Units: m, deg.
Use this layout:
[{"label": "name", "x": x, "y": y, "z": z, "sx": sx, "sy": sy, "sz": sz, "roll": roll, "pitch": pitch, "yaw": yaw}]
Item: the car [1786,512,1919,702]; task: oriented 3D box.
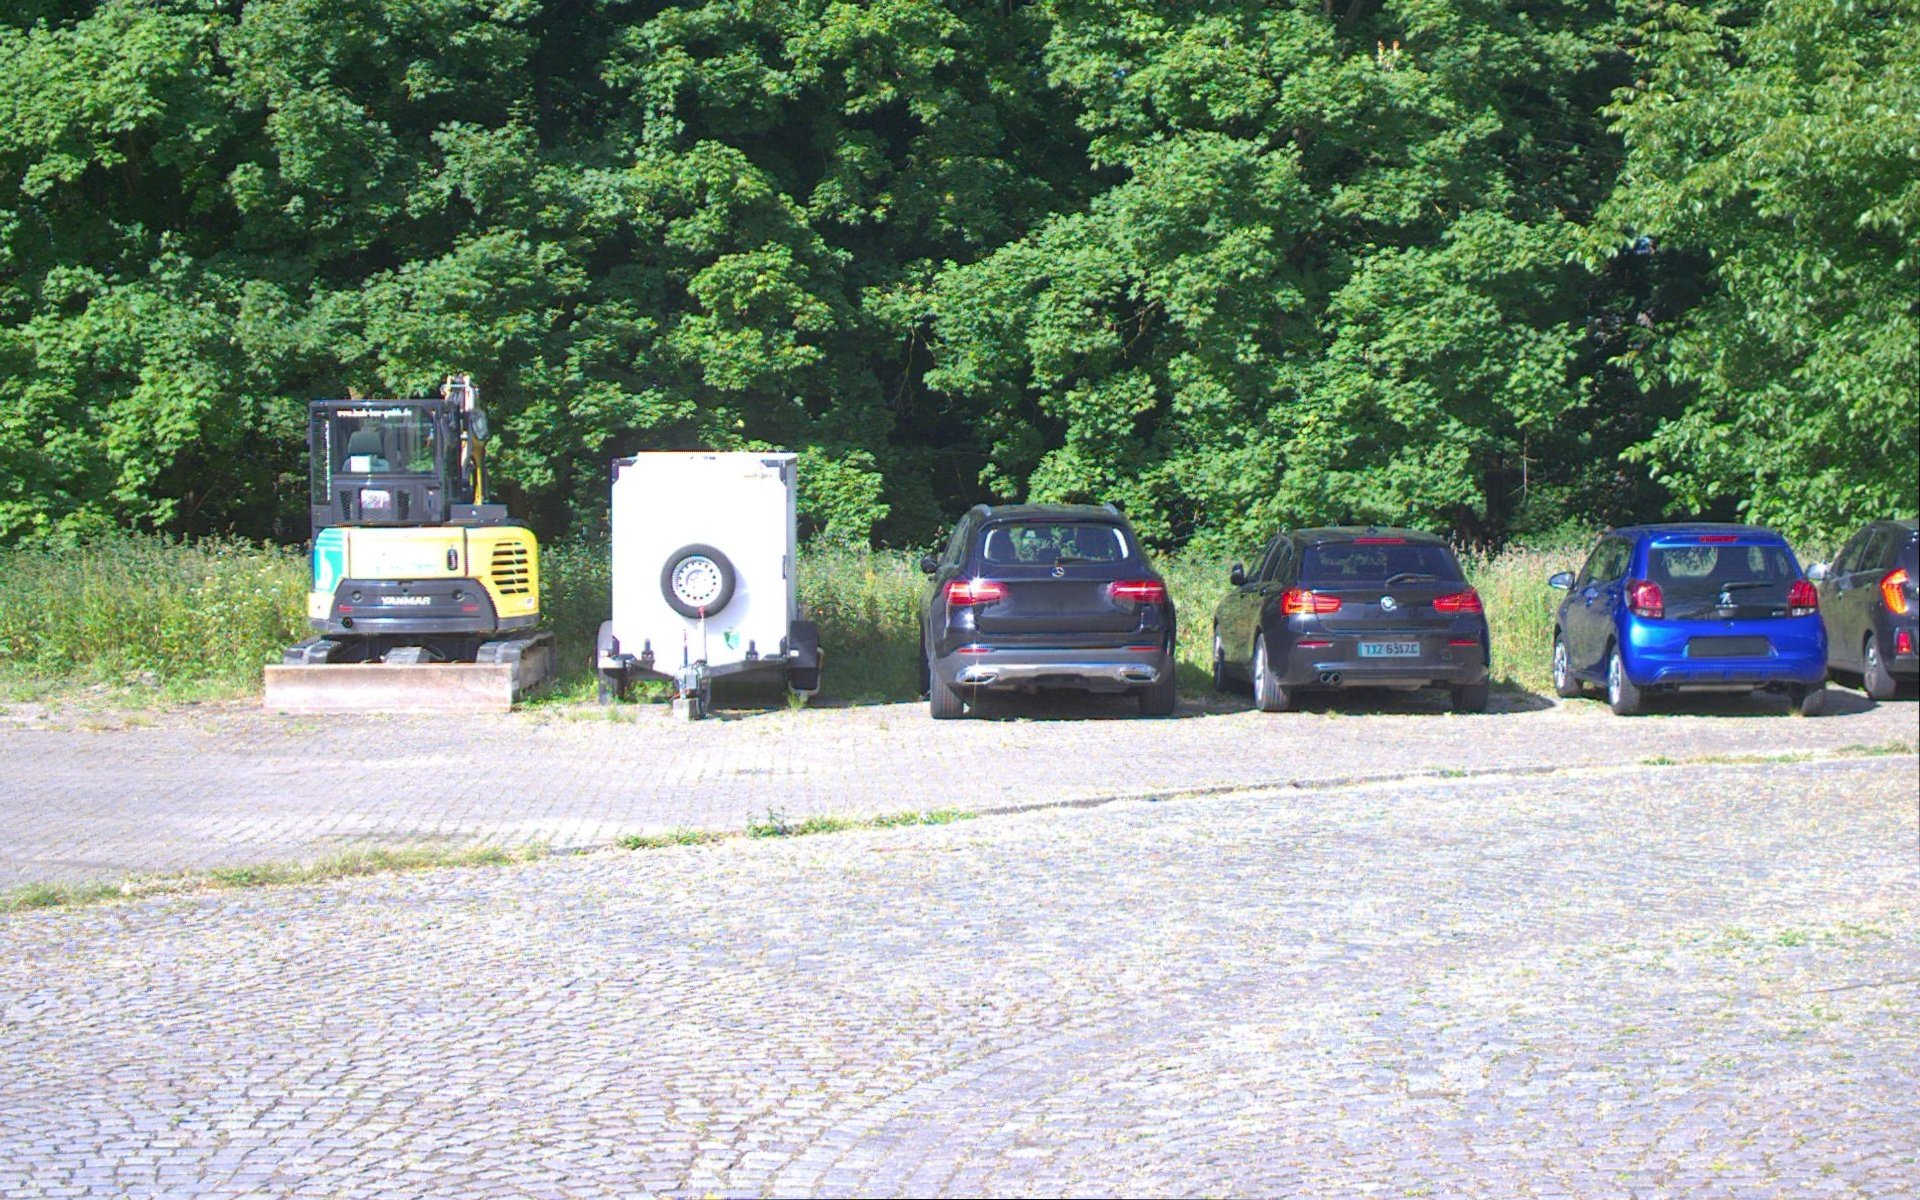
[{"label": "car", "x": 8.181, "y": 0.013, "z": 29.002, "sx": 1.739, "sy": 1.446, "sz": 3.725, "roll": 0, "pitch": 2, "yaw": 4}]

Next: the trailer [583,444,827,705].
[{"label": "trailer", "x": -2.055, "y": -0.247, "z": 28.398, "sx": 1.818, "sy": 2.043, "sz": 2.850, "roll": 0, "pitch": 2, "yaw": 0}]

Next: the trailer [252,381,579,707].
[{"label": "trailer", "x": -4.453, "y": -0.528, "z": 28.565, "sx": 2.258, "sy": 2.529, "sz": 2.851, "roll": 0, "pitch": 4, "yaw": 0}]

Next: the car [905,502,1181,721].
[{"label": "car", "x": 0.577, "y": 0.024, "z": 27.368, "sx": 1.964, "sy": 1.584, "sz": 4.132, "roll": 0, "pitch": 2, "yaw": -2}]

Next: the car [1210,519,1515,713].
[{"label": "car", "x": 3.151, "y": 0.080, "z": 27.609, "sx": 1.889, "sy": 1.406, "sz": 3.790, "roll": 0, "pitch": 2, "yaw": -2}]

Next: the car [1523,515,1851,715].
[{"label": "car", "x": 5.779, "y": 0.067, "z": 27.744, "sx": 1.780, "sy": 1.453, "sz": 3.790, "roll": 0, "pitch": 2, "yaw": -1}]
